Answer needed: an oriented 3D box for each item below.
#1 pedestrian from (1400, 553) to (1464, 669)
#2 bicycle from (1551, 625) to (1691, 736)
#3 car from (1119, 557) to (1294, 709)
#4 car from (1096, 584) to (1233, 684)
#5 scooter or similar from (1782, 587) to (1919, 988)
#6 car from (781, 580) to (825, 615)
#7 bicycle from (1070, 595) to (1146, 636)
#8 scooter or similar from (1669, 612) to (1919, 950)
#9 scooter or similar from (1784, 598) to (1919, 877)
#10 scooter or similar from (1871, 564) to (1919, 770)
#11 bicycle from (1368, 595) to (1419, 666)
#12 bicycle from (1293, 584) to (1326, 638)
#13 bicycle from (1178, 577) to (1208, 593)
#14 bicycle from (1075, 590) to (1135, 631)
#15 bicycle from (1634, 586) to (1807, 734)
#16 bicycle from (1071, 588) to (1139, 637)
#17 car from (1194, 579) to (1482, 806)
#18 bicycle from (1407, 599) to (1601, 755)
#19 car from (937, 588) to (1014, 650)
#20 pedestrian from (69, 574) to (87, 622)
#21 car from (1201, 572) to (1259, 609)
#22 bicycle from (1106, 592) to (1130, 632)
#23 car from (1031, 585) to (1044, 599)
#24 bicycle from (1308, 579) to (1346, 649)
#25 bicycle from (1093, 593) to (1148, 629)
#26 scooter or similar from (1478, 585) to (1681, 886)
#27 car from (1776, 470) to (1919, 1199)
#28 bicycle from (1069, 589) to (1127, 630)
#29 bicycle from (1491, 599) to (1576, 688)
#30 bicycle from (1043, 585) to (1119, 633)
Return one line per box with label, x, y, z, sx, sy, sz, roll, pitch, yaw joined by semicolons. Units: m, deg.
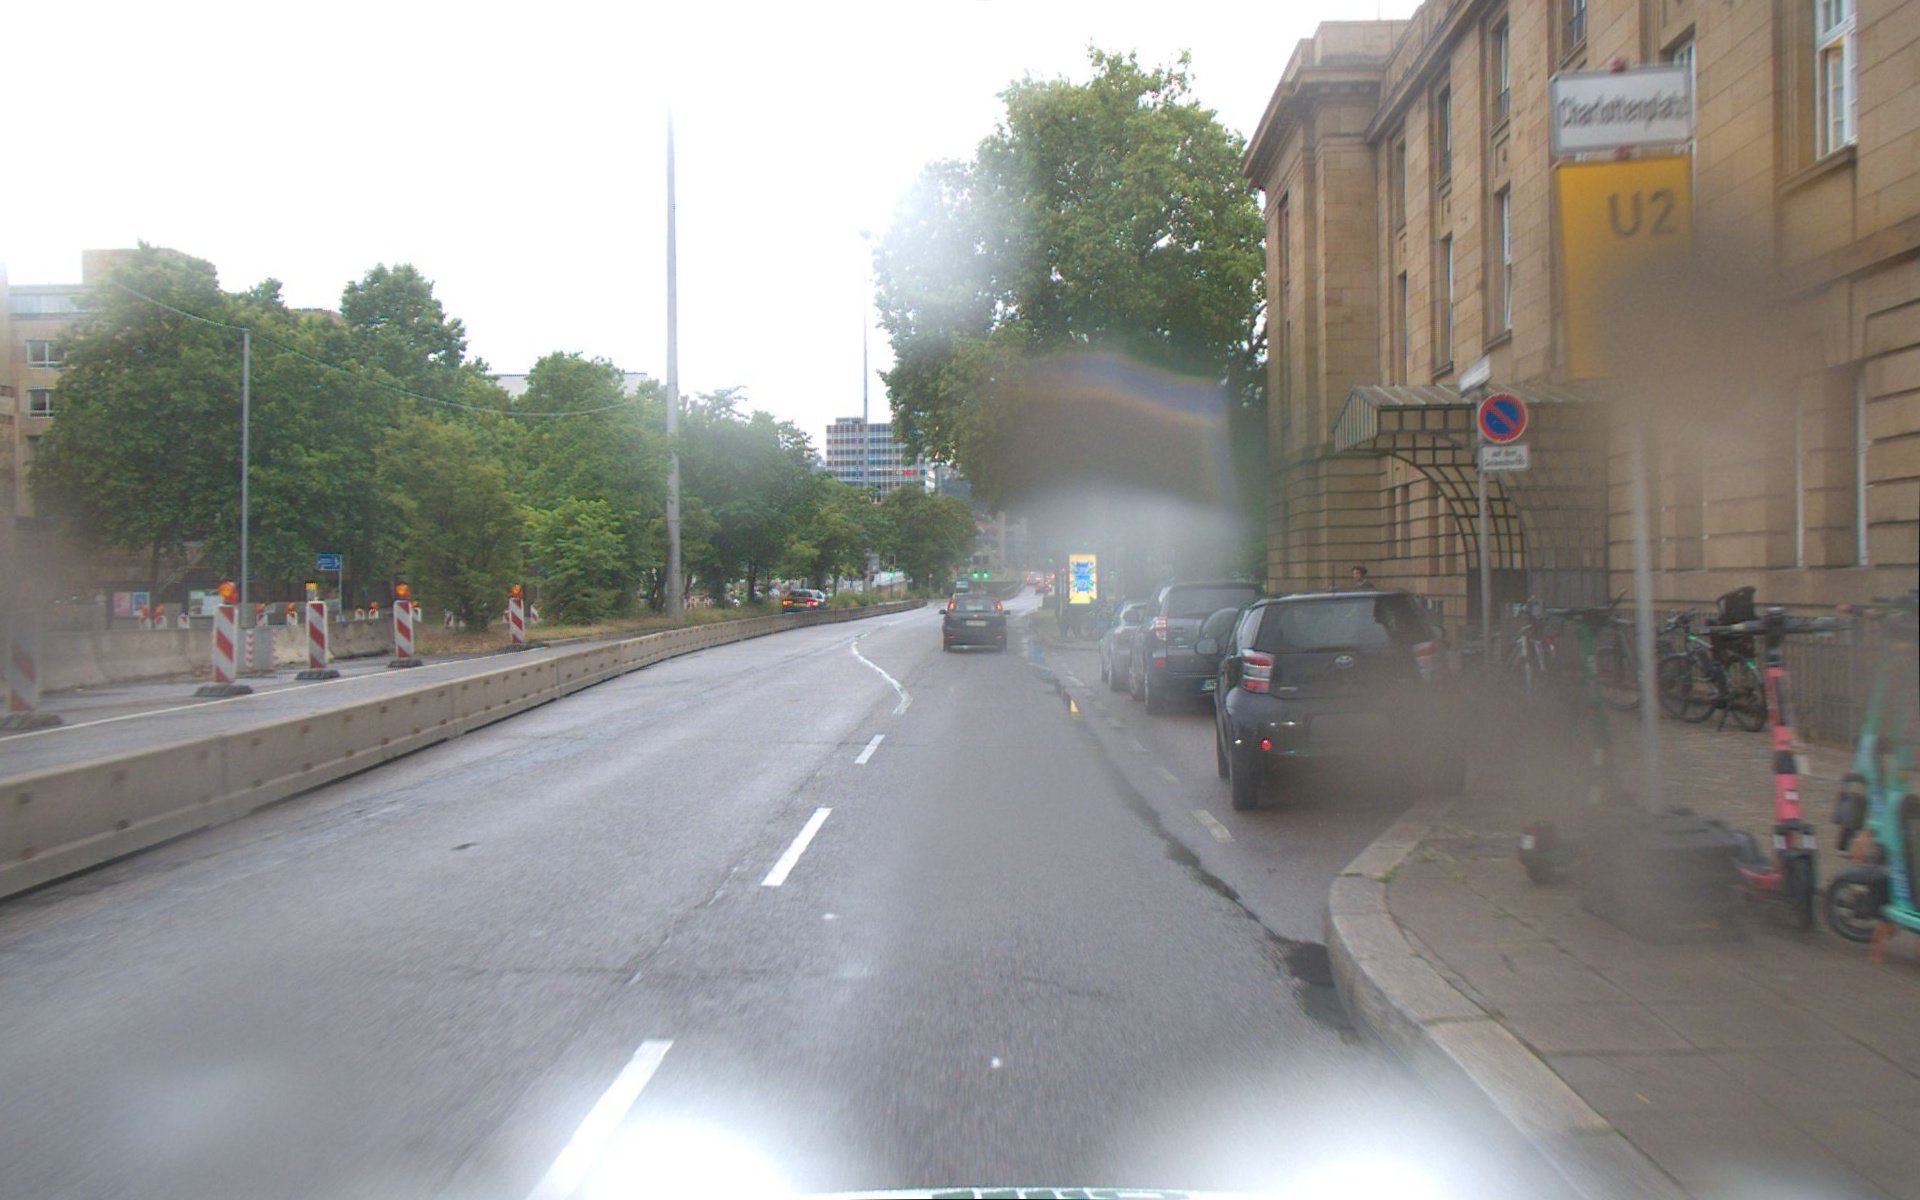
pedestrian;7.651;0.176;26.811;0.778;1.808;0.642;-3;0;1
bicycle;6.907;0.818;17.368;0.698;1.070;1.739;0;0;-3
car;3.159;0.395;21.978;1.952;1.812;4.190;0;0;4
car;3.251;0.518;26.922;1.891;1.504;3.704;0;0;2
scooter or similar;3.407;0.629;5.761;0.425;1.342;1.075;0;0;-9
car;-6.863;-0.111;72.695;1.719;1.477;3.998;1;0;-3
bicycle;3.950;0.413;44.261;1.945;1.078;0.759;0;0;-2
scooter or similar;3.387;0.683;6.763;0.425;1.238;1.122;-2;0;-1
scooter or similar;4.683;0.651;8.047;0.427;1.315;1.249;0;0;-22
scooter or similar;6.931;0.467;11.673;0.404;1.442;1.268;0;0;5
bicycle;7.777;0.536;29.711;0.454;1.236;1.691;0;0;0
bicycle;8.494;0.266;40.248;0.444;1.273;1.600;1;0;0
bicycle;17.378;-1.134;123.317;1.996;1.194;0.958;-1;1;-7
bicycle;4.009;0.294;45.819;1.643;1.109;0.651;0;0;3
bicycle;7.066;0.526;15.473;0.716;1.290;1.757;-1;0;-3
bicycle;4.053;0.350;46.388;1.866;1.356;0.651;0;0;3
car;2.721;0.619;12.532;1.721;1.439;3.154;-2;0;6
bicycle;4.689;0.623;14.407;0.761;1.240;1.961;-2;0;-9
car;0.357;0.467;42.169;1.806;1.441;3.838;-2;0;-1
pedestrian;-38.245;-0.070;71.707;0.468;2.049;0.512;-2;-1;2
car;12.905;-0.476;79.330;1.952;1.637;5.238;0;2;1
bicycle;5.043;0.369;52.654;0.592;1.218;1.906;-2;0;9
car;10.908;-1.096;232.546;1.702;1.802;4.002;-2;0;4
bicycle;8.386;0.307;37.822;0.444;1.542;1.599;1;0;-1
bicycle;4.636;0.319;47.849;1.556;1.012;0.525;0;0;3
scooter or similar;3.113;0.628;8.261;1.321;1.392;0.428;0;0;-44
car;2.729;0.580;1.508;1.833;1.647;4.405;-1;1;1
bicycle;3.924;0.267;47.131;1.643;1.142;0.602;0;1;3
bicycle;7.041;0.511;20.374;0.571;1.056;1.760;0;0;5
bicycle;3.435;0.253;47.048;2.145;1.360;0.651;0;0;3
